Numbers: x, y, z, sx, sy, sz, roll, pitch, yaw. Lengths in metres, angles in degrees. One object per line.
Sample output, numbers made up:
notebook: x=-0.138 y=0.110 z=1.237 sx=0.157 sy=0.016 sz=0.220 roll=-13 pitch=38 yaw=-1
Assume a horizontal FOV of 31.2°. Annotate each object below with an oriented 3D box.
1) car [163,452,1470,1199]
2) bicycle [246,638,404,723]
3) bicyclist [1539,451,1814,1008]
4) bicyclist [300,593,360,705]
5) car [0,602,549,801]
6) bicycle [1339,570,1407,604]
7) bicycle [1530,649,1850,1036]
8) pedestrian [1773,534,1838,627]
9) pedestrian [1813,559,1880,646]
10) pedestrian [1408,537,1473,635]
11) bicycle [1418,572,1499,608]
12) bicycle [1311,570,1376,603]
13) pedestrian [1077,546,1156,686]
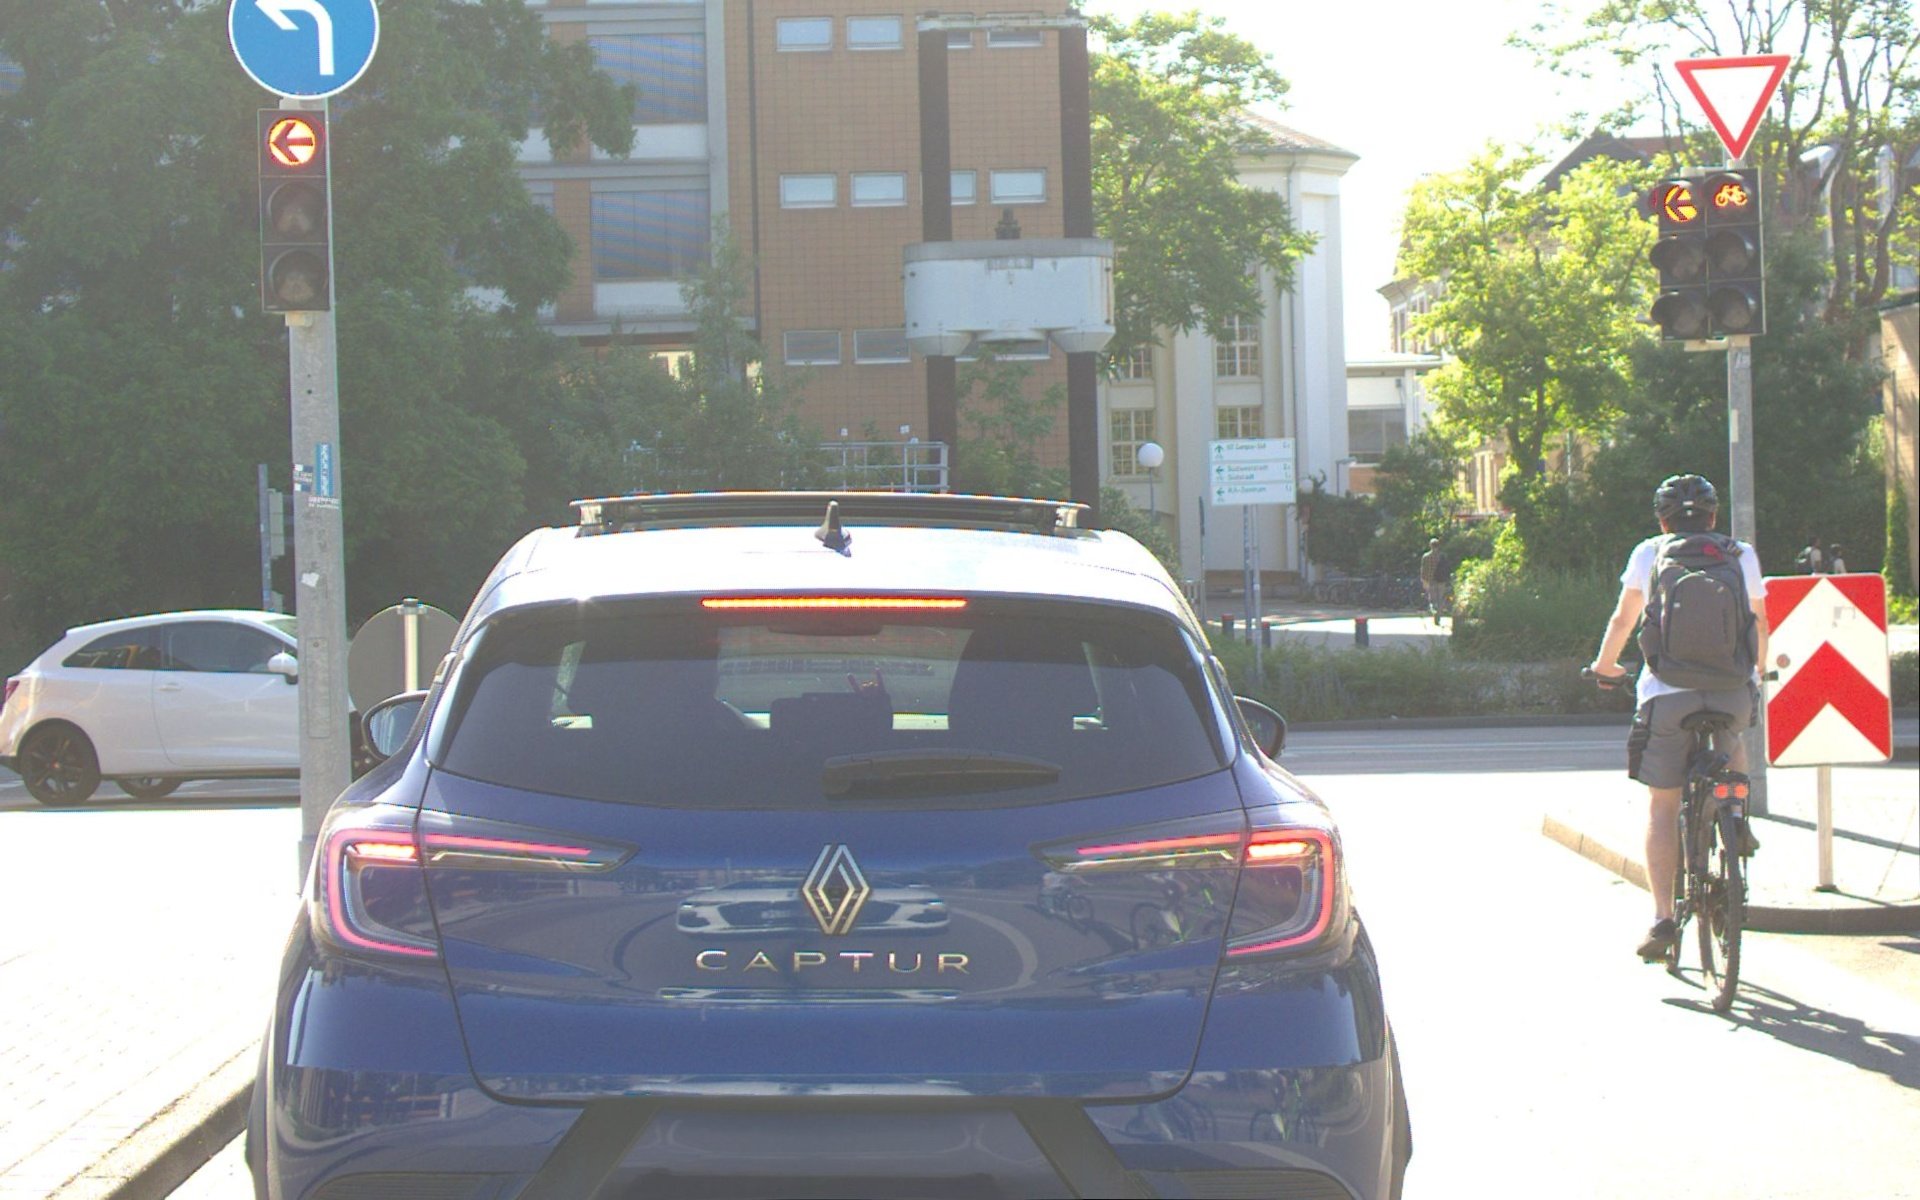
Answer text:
car: x=-0.249 y=0.591 z=6.670 sx=1.794 sy=1.649 sz=3.853 roll=0 pitch=1 yaw=-2
bicycle: x=-8.106 y=1.028 z=43.883 sx=1.862 sy=1.004 sz=0.701 roll=-2 pitch=-2 yaw=-19
bicyclist: x=2.376 y=0.414 z=11.487 sx=0.676 sy=1.779 sz=0.940 roll=1 pitch=0 yaw=-2
bicyclist: x=-8.054 y=0.627 z=43.931 sx=0.636 sy=1.407 sz=0.649 roll=-1 pitch=-2 yaw=-19
car: x=-5.292 y=0.750 z=25.885 sx=3.989 sy=1.369 sz=1.759 roll=-1 pitch=1 yaw=11
bicycle: x=11.402 y=-0.358 z=94.846 sx=1.771 sy=0.895 sz=0.765 roll=-1 pitch=1 yaw=0
bicycle: x=2.389 y=0.756 z=11.451 sx=0.615 sy=1.134 sz=1.826 roll=0 pitch=1 yaw=-2
pedestrian: x=16.166 y=-0.381 z=65.742 sx=0.953 sy=1.735 sz=0.984 roll=-1 pitch=1 yaw=0
pedestrian: x=16.768 y=0.048 z=65.060 sx=0.936 sy=1.607 sz=1.176 roll=-1 pitch=1 yaw=0
pedestrian: x=10.076 y=-0.298 z=72.150 sx=1.156 sy=2.007 sz=1.164 roll=-1 pitch=1 yaw=0
bicycle: x=12.032 y=-0.243 z=83.044 sx=1.770 sy=0.820 sz=0.766 roll=-1 pitch=1 yaw=-10
bicycle: x=11.063 y=-0.389 z=99.210 sx=1.771 sy=0.890 sz=0.765 roll=-1 pitch=1 yaw=0
pedestrian: x=2.101 y=0.206 z=46.053 sx=0.932 sy=1.849 sz=0.807 roll=-1 pitch=1 yaw=9
